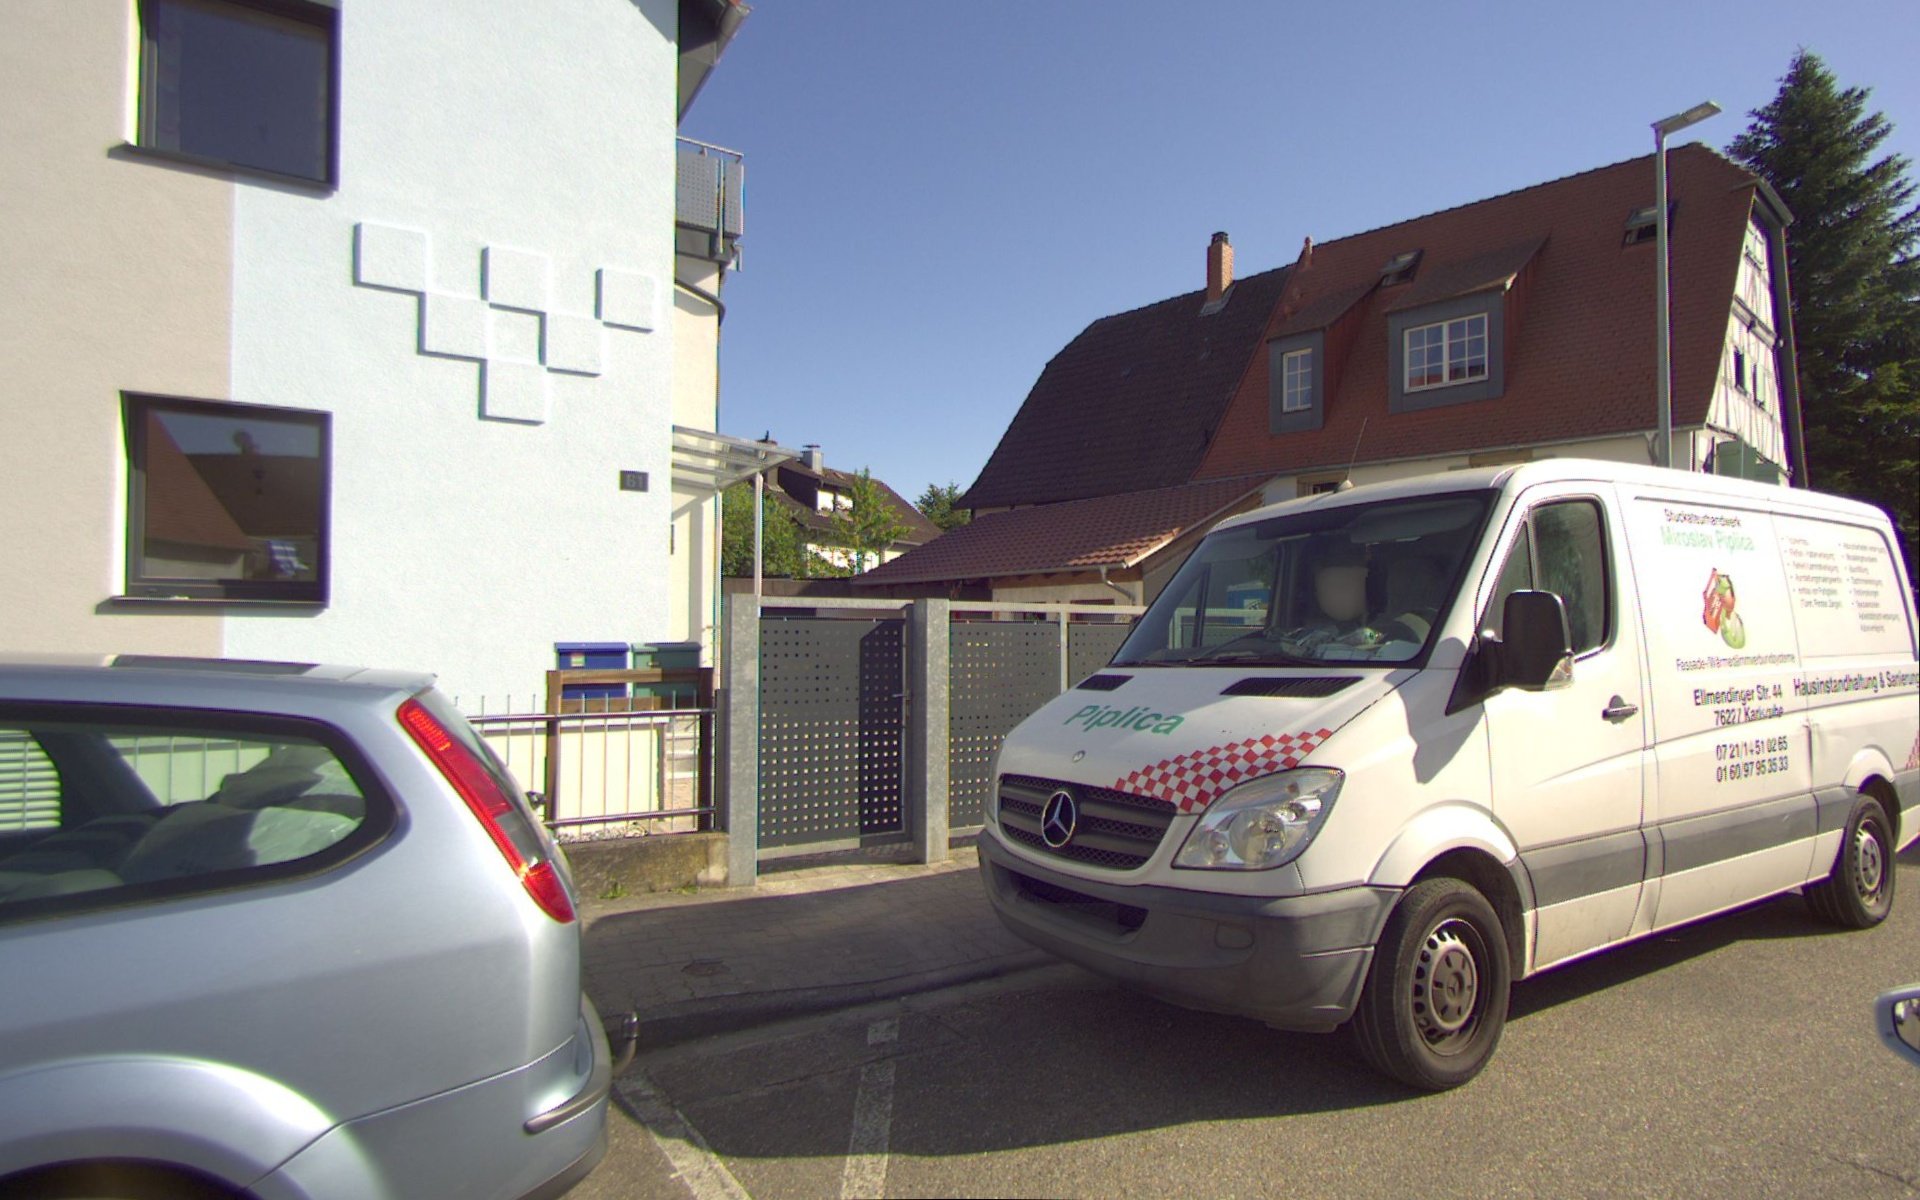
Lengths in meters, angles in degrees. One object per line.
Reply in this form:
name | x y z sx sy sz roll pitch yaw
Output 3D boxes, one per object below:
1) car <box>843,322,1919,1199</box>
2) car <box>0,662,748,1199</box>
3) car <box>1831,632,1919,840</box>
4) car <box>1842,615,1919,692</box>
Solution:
car | 2.594 0.547 5.203 5.993 2.421 2.187 1 -4 -31
car | -2.653 0.910 1.720 4.185 1.524 1.704 1 -3 -31
car | 8.677 1.015 7.950 2.924 1.566 1.570 0 -3 -25
car | 26.317 1.416 27.917 5.099 1.981 1.924 0 -2 -40
